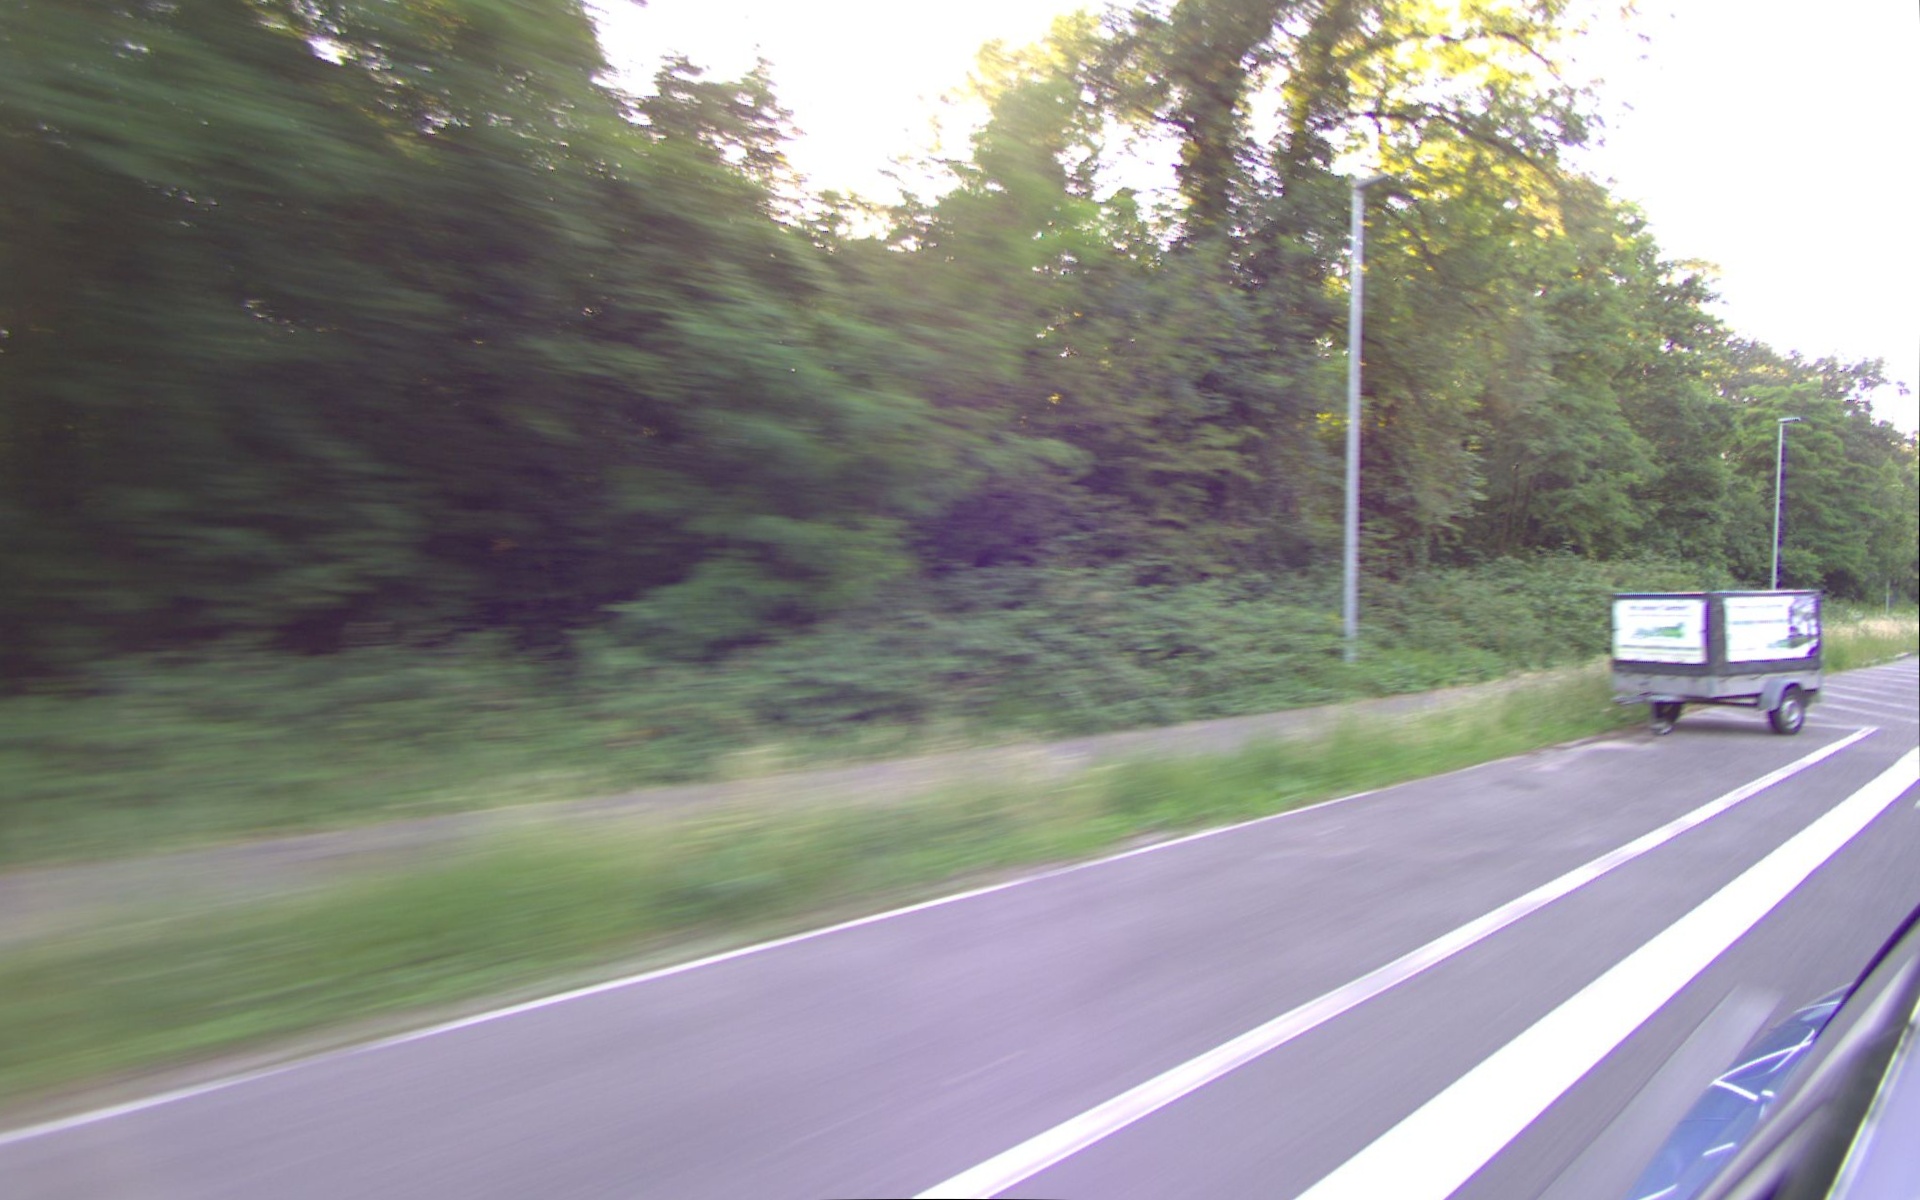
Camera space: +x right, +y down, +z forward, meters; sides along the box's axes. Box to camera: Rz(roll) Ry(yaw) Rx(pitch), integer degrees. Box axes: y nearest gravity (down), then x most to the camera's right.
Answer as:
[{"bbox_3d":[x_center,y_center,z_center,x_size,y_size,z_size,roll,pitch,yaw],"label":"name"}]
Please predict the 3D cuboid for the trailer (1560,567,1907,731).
[{"bbox_3d":[9.046,0.509,11.836,3.697,1.682,1.464,1,2,-21],"label":"trailer"}]
